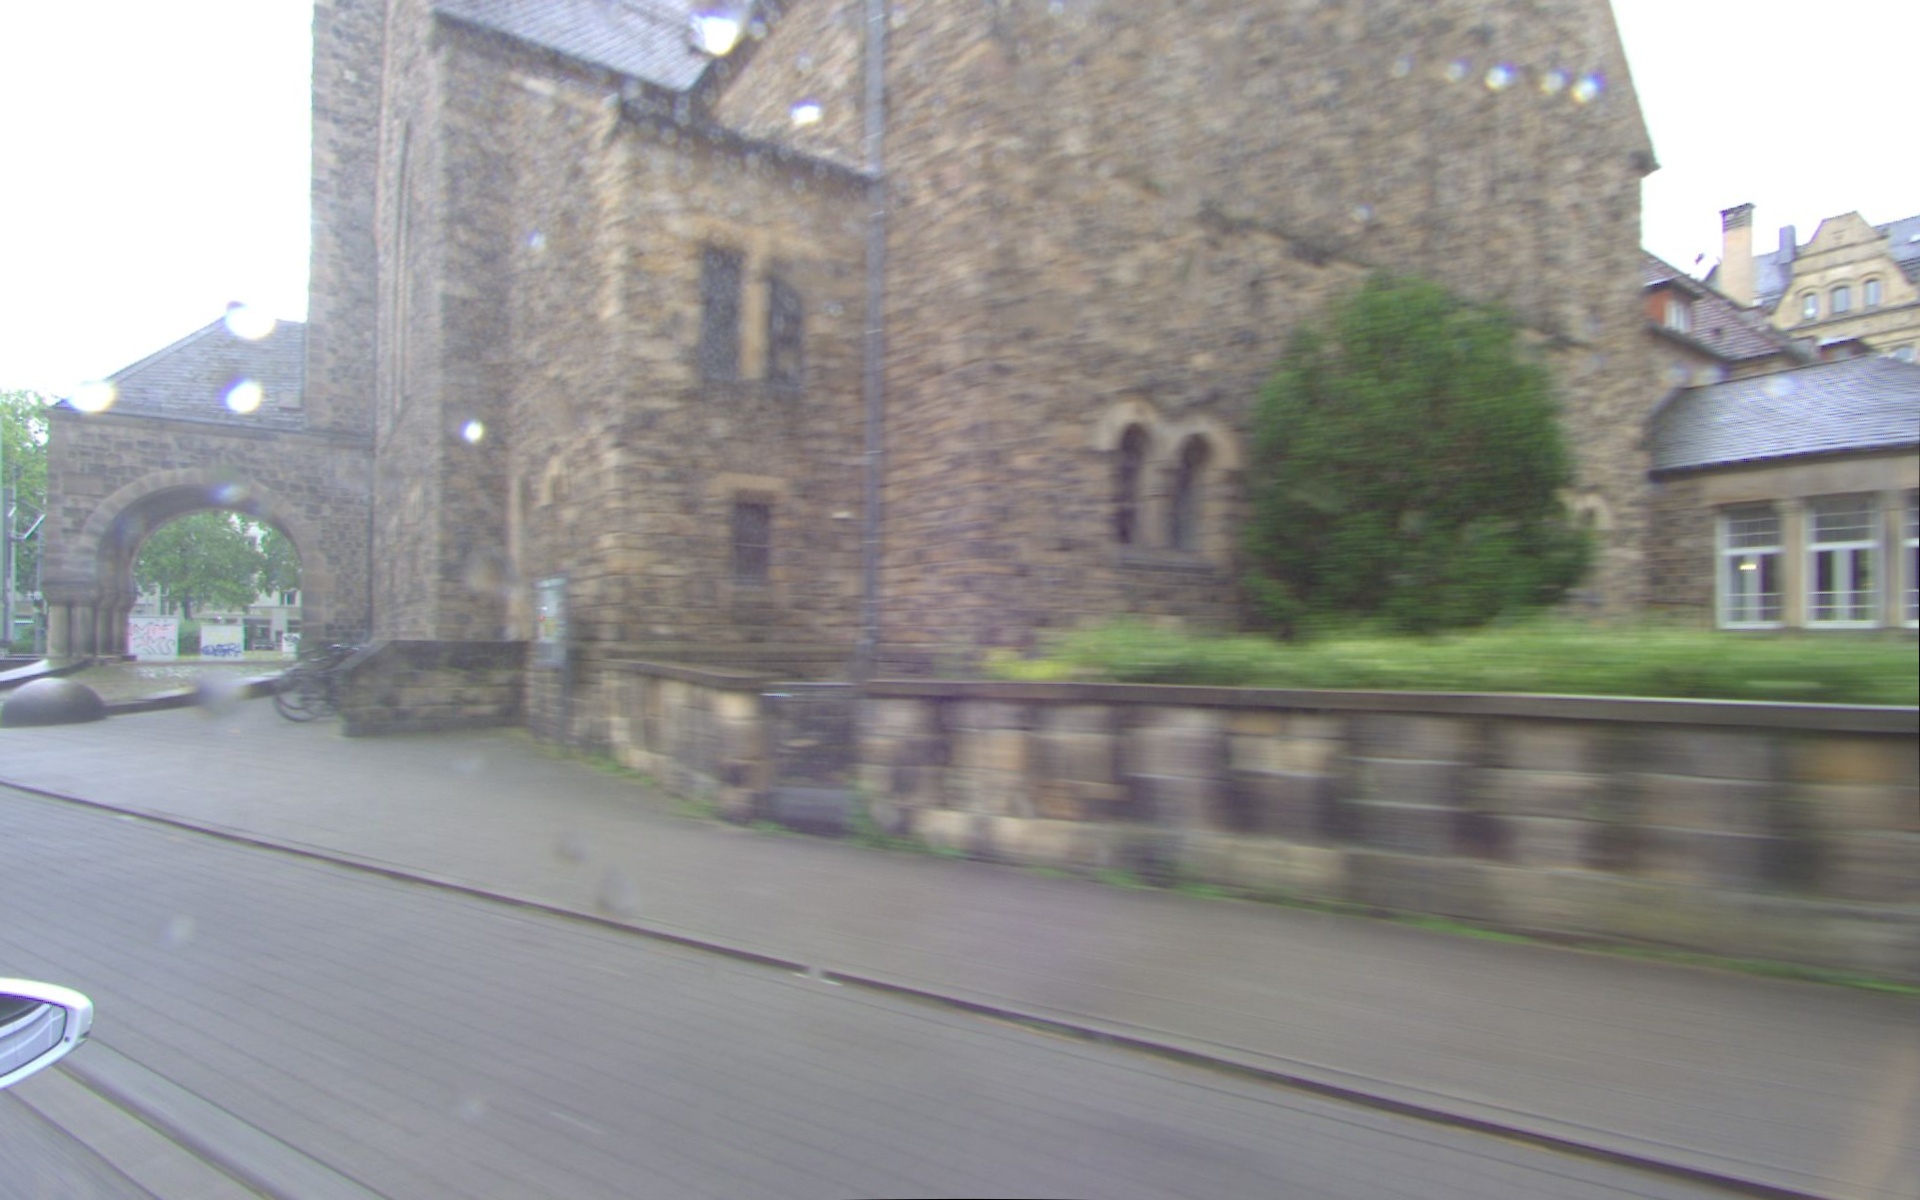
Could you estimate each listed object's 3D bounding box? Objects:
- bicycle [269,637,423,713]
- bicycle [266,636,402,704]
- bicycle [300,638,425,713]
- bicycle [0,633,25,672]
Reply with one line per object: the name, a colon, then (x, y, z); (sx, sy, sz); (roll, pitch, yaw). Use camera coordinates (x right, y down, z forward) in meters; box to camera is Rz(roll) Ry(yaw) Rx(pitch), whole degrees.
bicycle: (-9.486, 1.129, 15.530); (1.971, 1.068, 0.508); (0, -1, -44)
bicycle: (-11.277, 1.236, 18.090); (0.684, 1.119, 1.972); (-1, -1, 44)
bicycle: (-9.869, 1.220, 16.586); (1.697, 1.126, 0.556); (0, -1, -44)
bicycle: (-28.949, 1.585, 30.547); (2.049, 1.169, 0.327); (-1, -2, 39)
